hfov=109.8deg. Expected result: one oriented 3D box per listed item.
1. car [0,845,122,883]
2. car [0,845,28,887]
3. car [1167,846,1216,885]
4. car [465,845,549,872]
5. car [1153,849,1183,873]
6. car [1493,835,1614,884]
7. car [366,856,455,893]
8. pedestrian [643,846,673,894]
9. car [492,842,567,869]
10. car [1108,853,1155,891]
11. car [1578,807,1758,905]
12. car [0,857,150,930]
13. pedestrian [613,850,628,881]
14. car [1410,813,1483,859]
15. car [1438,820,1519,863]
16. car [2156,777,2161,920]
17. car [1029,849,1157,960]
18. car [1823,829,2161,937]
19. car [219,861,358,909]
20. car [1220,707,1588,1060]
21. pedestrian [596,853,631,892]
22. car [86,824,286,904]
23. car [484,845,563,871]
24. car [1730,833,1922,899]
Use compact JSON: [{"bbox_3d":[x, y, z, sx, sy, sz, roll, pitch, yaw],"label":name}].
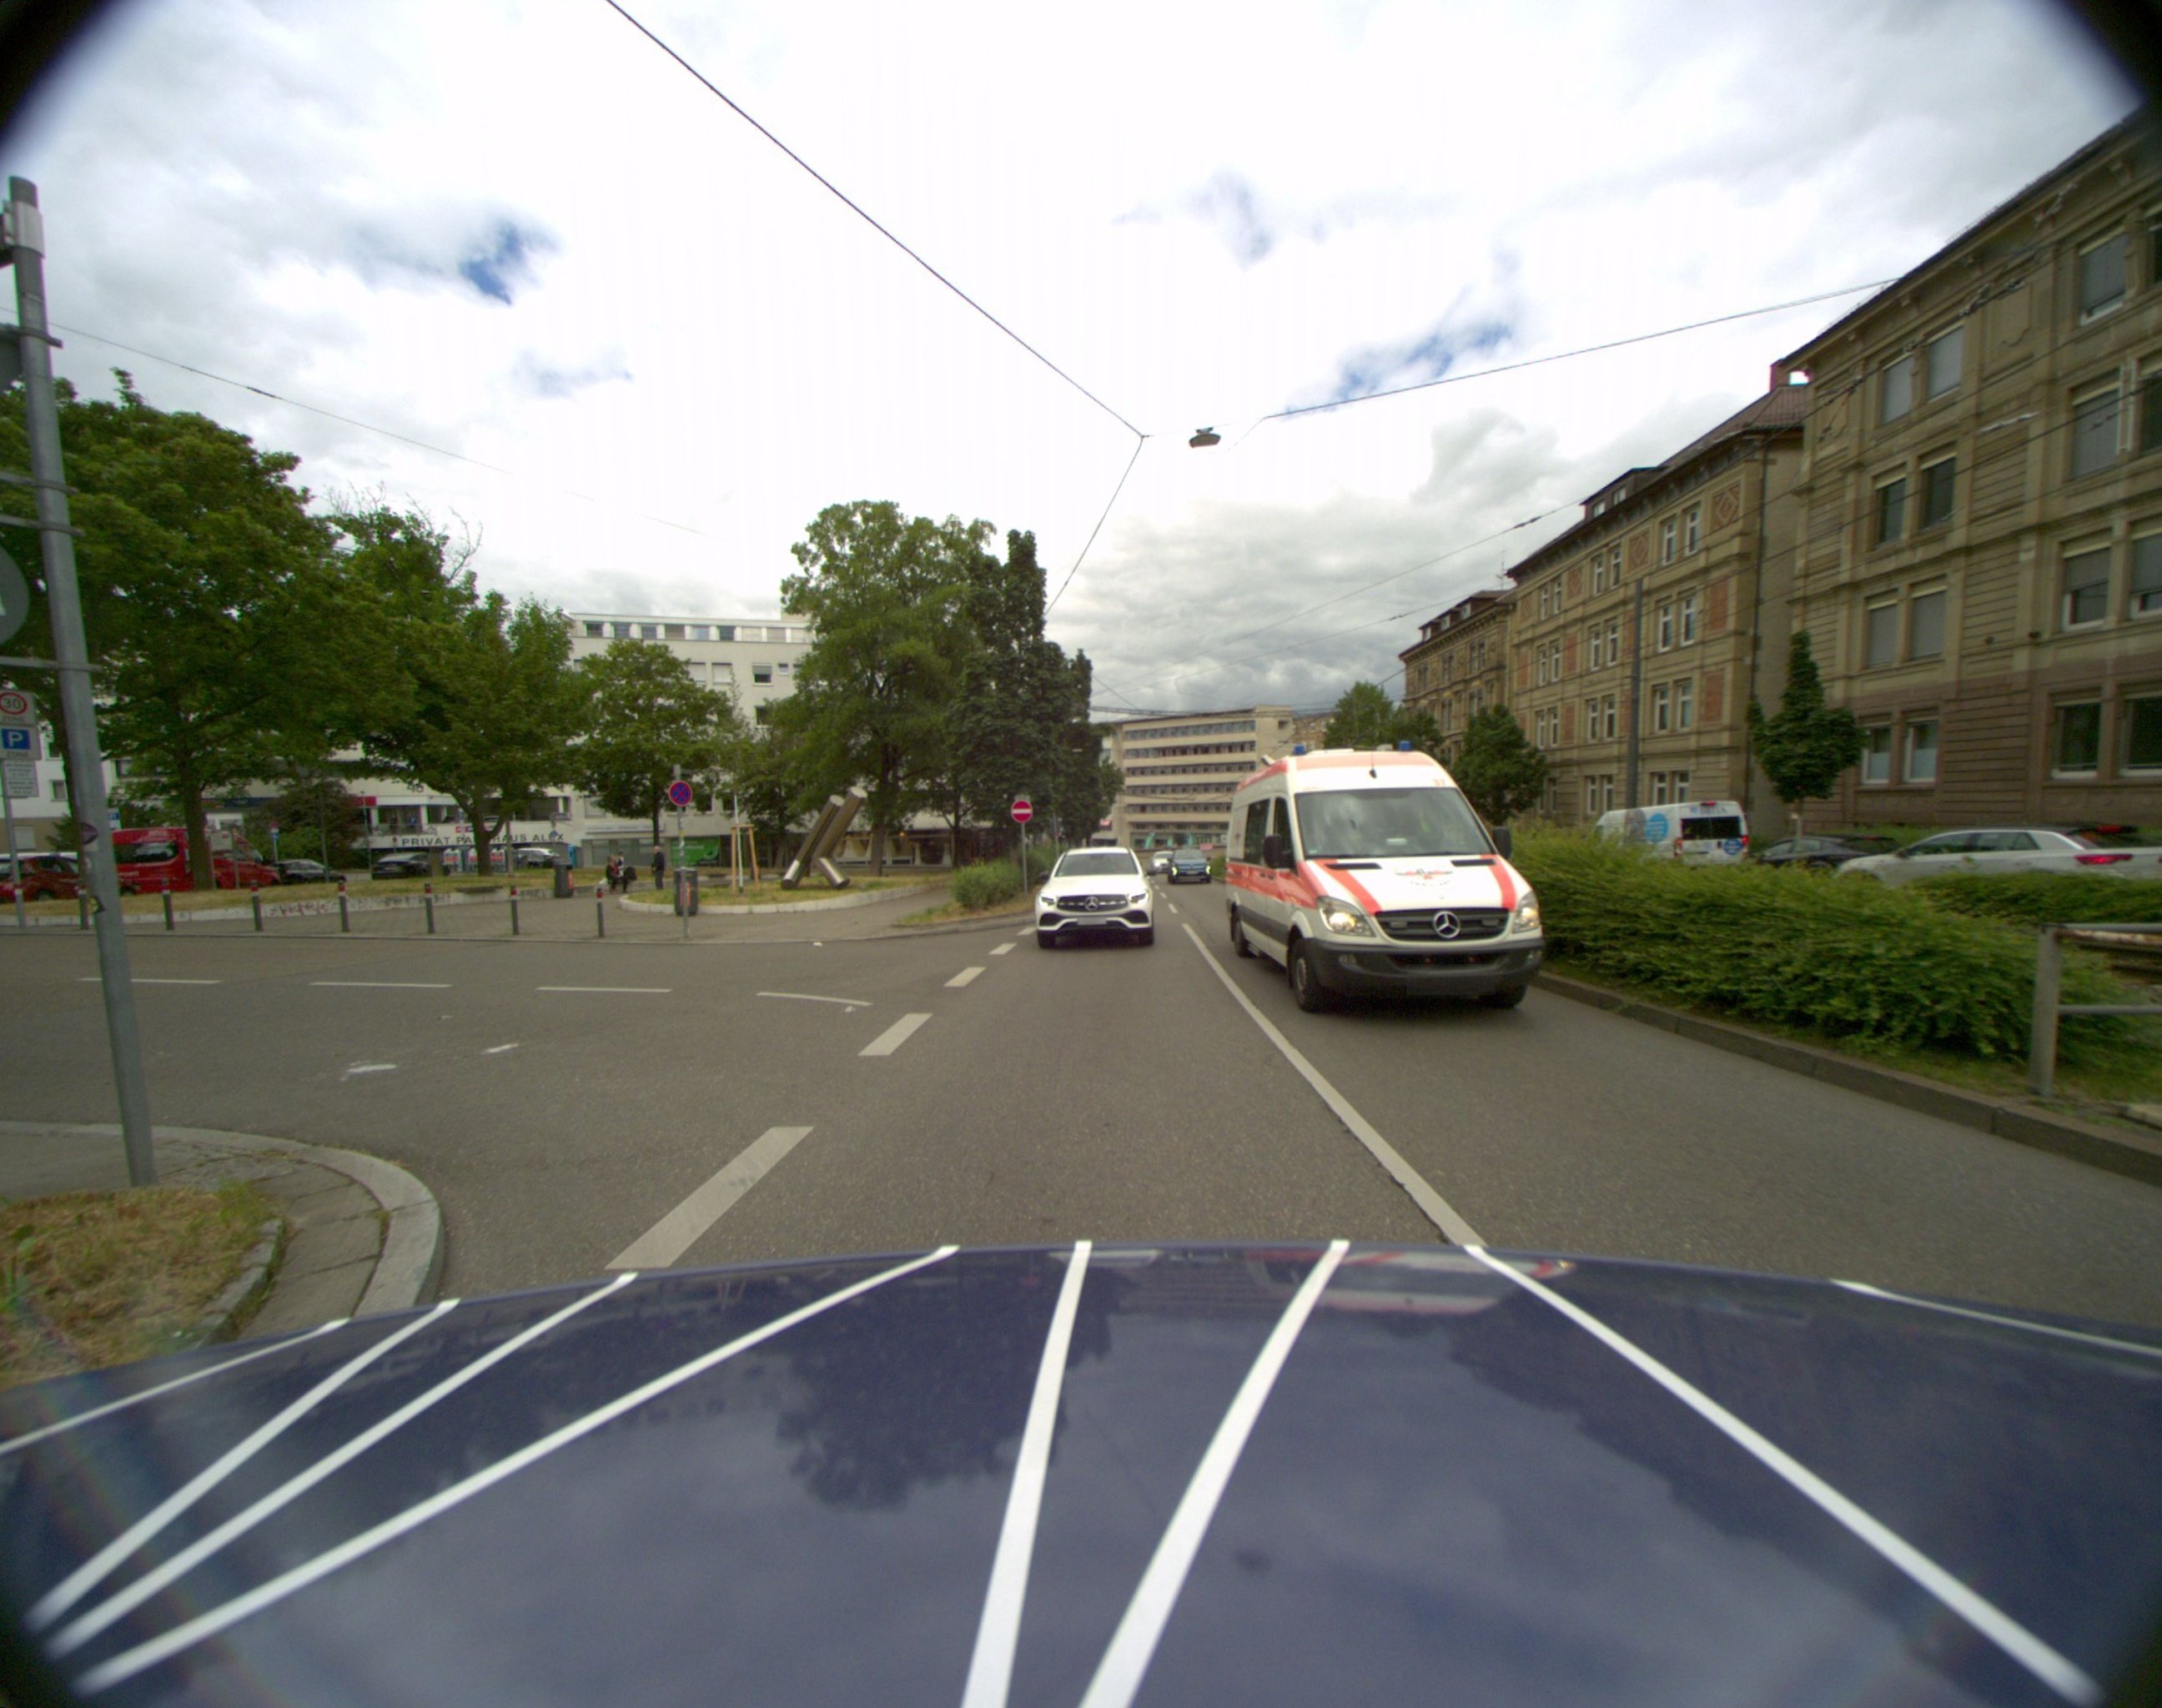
[{"bbox_3d":[-56.055,0.510,41.181,4.784,1.934,2.226,-1,1,-8],"label":"car"},{"bbox_3d":[-50.602,0.579,33.516,4.613,1.867,2.101,-1,1,-11],"label":"car"},{"bbox_3d":[5.020,0.481,35.063,1.930,1.563,4.182,-3,1,5],"label":"car"},{"bbox_3d":[-38.273,0.299,50.740,3.999,1.707,1.998,-1,1,-6],"label":"car"},{"bbox_3d":[5.987,0.423,52.153,1.997,1.543,4.319,-1,1,7],"label":"car"},{"bbox_3d":[15.736,0.148,25.574,1.871,1.510,3.951,-1,1,5],"label":"car"},{"bbox_3d":[-34.424,0.979,39.187,2.002,1.730,4.774,-1,1,-23],"label":"car"},{"bbox_3d":[-14.538,0.538,26.141,0.727,1.593,0.791,-1,2,-20],"label":"pedestrian"},{"bbox_3d":[-40.358,0.103,55.703,4.000,1.677,1.688,-3,1,-9],"label":"car"},{"bbox_3d":[2.125,0.720,31.721,1.821,1.441,3.854,-1,1,5],"label":"car"},{"bbox_3d":[18.538,0.035,24.370,2.214,2.807,4.784,-1,1,3],"label":"car"},{"bbox_3d":[-24.888,0.885,18.180,1.751,1.556,3.709,-1,1,-23],"label":"car"},{"bbox_3d":[-22.689,0.552,37.413,0.529,1.525,0.672,-2,2,-36],"label":"pedestrian"},{"bbox_3d":[19.204,-0.924,40.121,2.241,2.275,4.001,-1,1,5],"label":"car"},{"bbox_3d":[18.976,-0.604,36.462,2.320,1.928,3.437,-1,1,5],"label":"car"},{"bbox_3d":[19.524,-0.070,9.543,2.447,2.422,6.752,-2,1,0],"label":"car"},{"bbox_3d":[0.274,0.755,13.686,1.894,1.610,4.478,-1,1,2],"label":"car"},{"bbox_3d":[15.604,0.393,13.035,1.708,1.558,3.998,-1,1,-3],"label":"car"},{"bbox_3d":[-29.466,1.087,28.453,2.002,1.556,4.406,-1,1,-23],"label":"car"},{"bbox_3d":[3.022,0.211,8.793,2.038,2.684,5.855,-1,1,3],"label":"car"},{"bbox_3d":[-15.612,0.614,25.382,0.655,1.284,0.685,0,1,12],"label":"pedestrian"},{"bbox_3d":[-27.406,0.251,23.570,2.130,2.200,4.883,-1,1,-25],"label":"car"},{"bbox_3d":[-39.320,0.250,53.668,3.999,1.707,1.998,-1,1,-6],"label":"car"},{"bbox_3d":[18.325,0.257,18.922,1.647,1.445,3.567,-1,0,9],"label":"car"}]
